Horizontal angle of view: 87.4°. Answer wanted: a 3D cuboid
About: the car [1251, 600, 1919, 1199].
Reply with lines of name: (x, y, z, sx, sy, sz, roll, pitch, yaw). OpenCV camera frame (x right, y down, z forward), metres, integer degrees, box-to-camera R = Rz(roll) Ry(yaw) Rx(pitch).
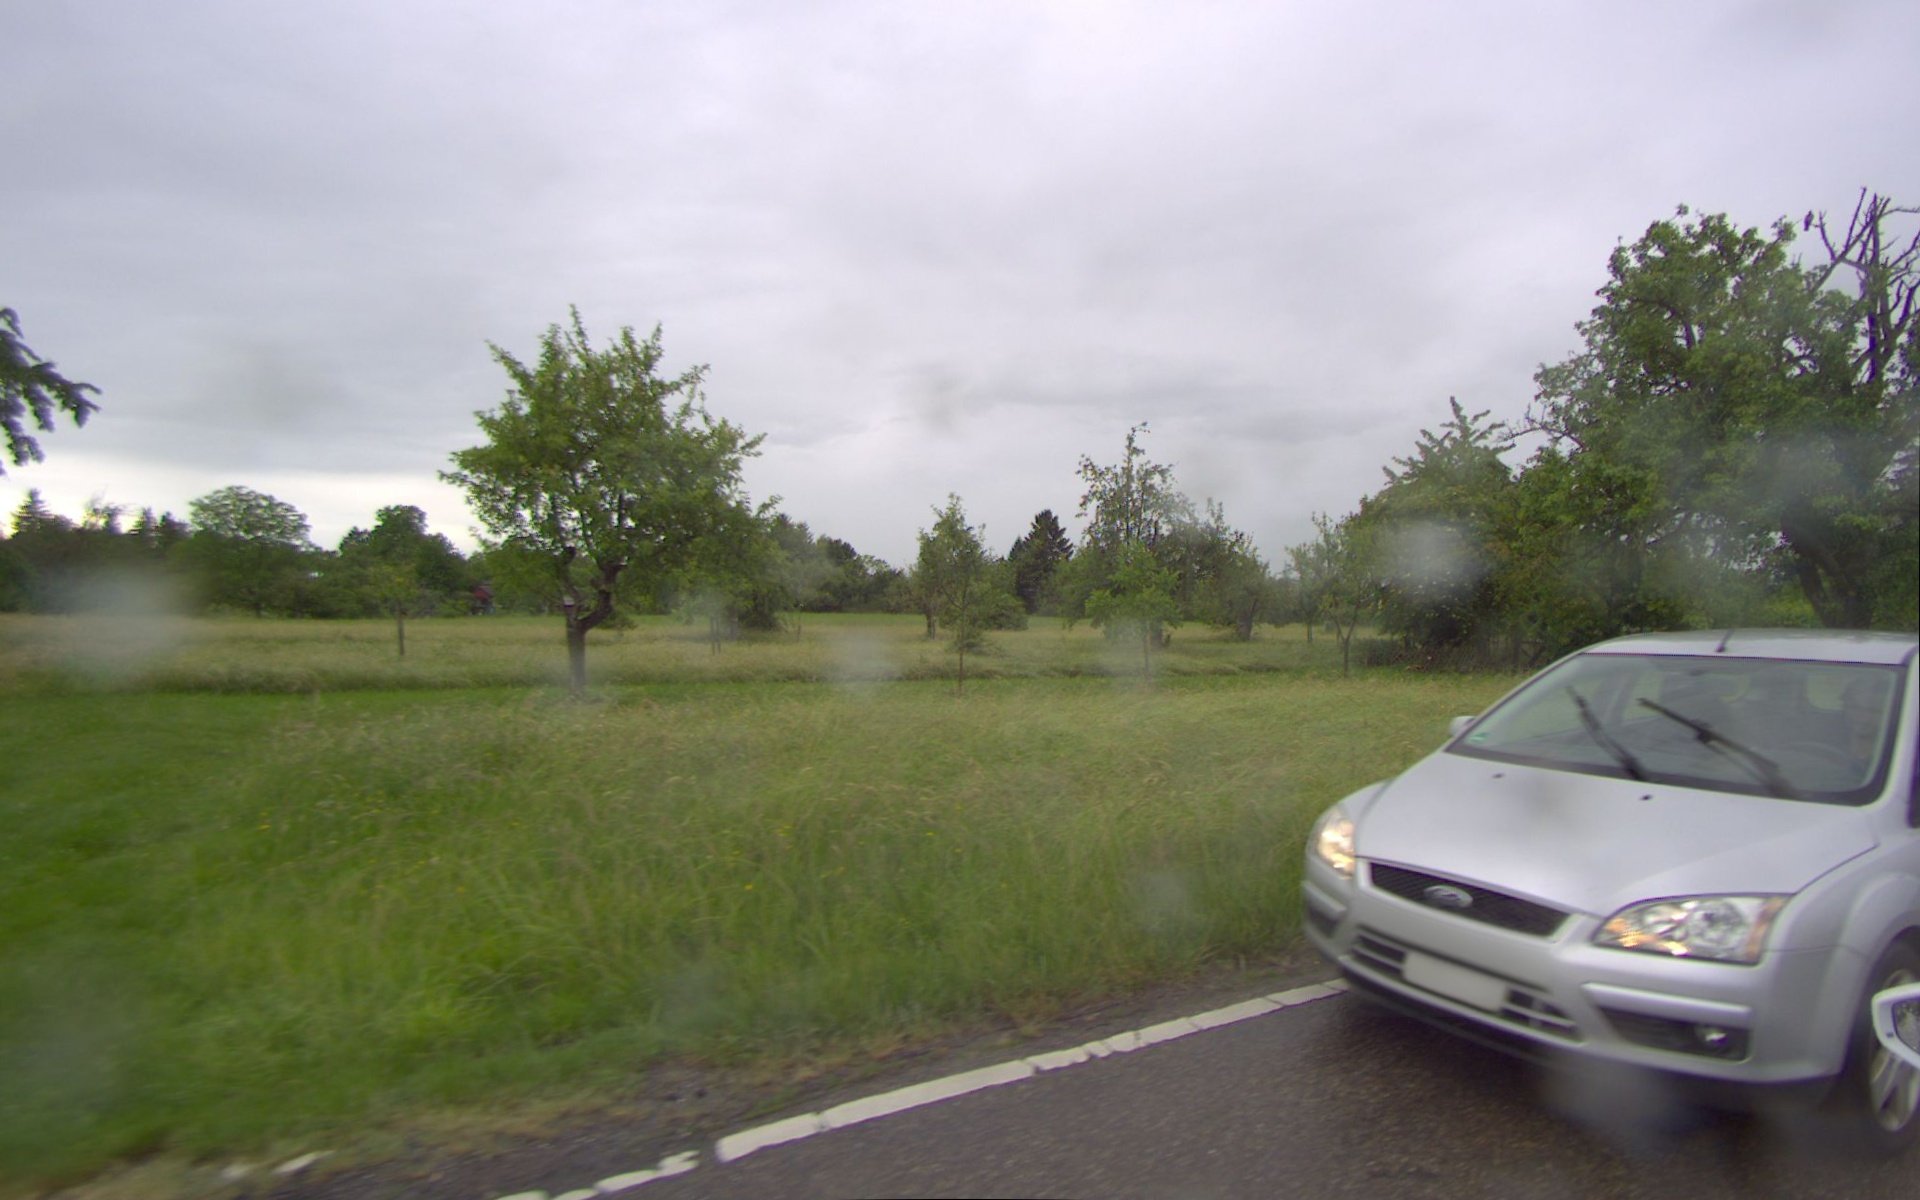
car: (3.317, 0.841, 4.171, 4.076, 1.491, 1.730, 3, 0, -32)
